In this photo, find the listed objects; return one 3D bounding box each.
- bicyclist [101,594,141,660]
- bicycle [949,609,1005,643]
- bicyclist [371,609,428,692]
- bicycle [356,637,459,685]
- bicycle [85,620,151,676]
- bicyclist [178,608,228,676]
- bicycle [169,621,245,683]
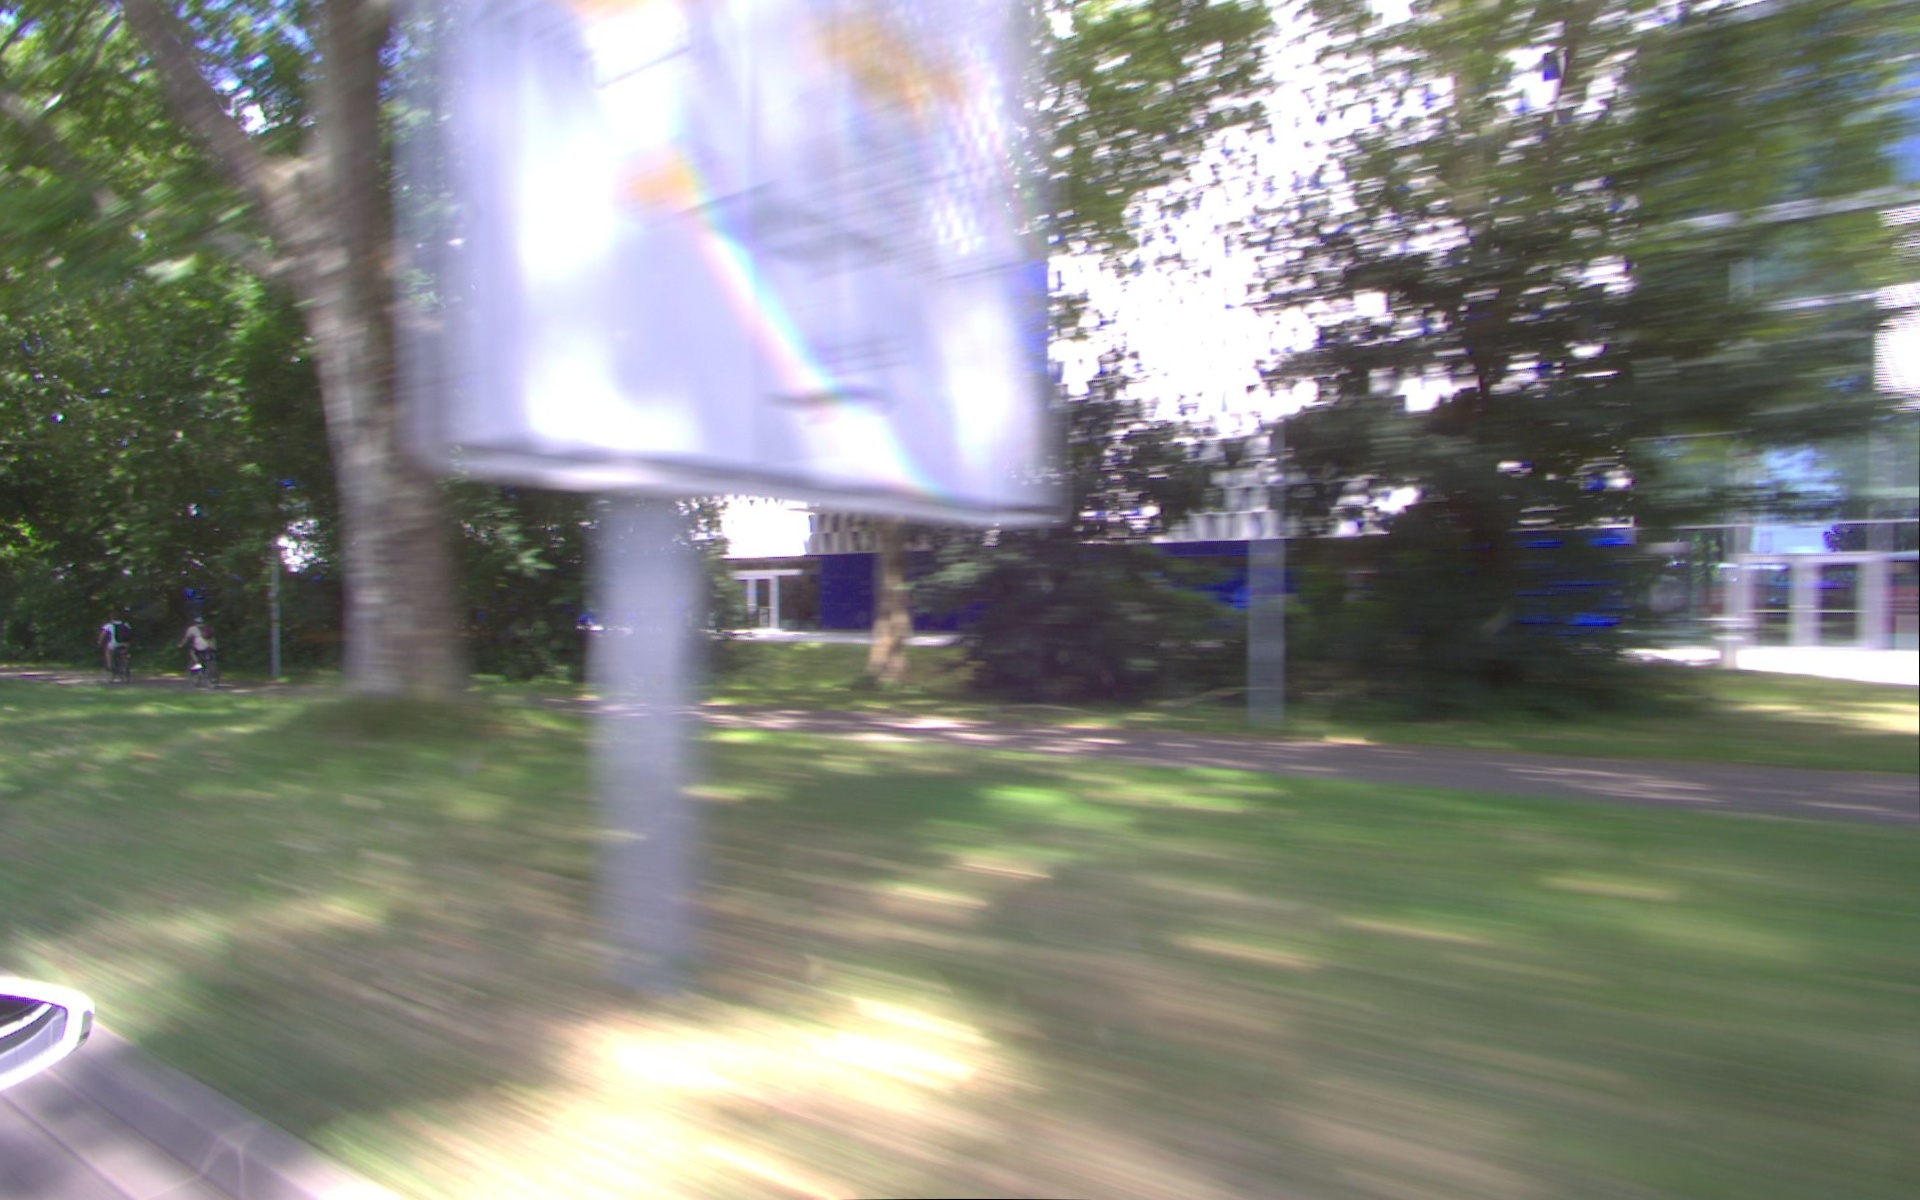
[{"bbox_3d":[-22.748,0.729,27.146,0.831,1.769,0.596,0,0,33],"label":"bicyclist"},{"bbox_3d":[0.531,0.776,30.098,0.855,0.981,2.058,0,-1,29],"label":"bicycle"},{"bbox_3d":[-11.289,0.995,20.182,0.802,1.631,0.624,1,0,19],"label":"bicyclist"},{"bbox_3d":[-11.090,1.215,20.084,1.987,0.898,0.646,0,0,19],"label":"bicycle"},{"bbox_3d":[-22.894,1.270,27.208,2.623,1.439,0.609,0,0,32],"label":"bicycle"},{"bbox_3d":[-18.560,1.019,24.556,1.038,1.620,0.657,0,0,33],"label":"bicyclist"},{"bbox_3d":[-18.520,1.237,24.595,2.623,1.439,0.609,0,0,32],"label":"bicycle"}]
